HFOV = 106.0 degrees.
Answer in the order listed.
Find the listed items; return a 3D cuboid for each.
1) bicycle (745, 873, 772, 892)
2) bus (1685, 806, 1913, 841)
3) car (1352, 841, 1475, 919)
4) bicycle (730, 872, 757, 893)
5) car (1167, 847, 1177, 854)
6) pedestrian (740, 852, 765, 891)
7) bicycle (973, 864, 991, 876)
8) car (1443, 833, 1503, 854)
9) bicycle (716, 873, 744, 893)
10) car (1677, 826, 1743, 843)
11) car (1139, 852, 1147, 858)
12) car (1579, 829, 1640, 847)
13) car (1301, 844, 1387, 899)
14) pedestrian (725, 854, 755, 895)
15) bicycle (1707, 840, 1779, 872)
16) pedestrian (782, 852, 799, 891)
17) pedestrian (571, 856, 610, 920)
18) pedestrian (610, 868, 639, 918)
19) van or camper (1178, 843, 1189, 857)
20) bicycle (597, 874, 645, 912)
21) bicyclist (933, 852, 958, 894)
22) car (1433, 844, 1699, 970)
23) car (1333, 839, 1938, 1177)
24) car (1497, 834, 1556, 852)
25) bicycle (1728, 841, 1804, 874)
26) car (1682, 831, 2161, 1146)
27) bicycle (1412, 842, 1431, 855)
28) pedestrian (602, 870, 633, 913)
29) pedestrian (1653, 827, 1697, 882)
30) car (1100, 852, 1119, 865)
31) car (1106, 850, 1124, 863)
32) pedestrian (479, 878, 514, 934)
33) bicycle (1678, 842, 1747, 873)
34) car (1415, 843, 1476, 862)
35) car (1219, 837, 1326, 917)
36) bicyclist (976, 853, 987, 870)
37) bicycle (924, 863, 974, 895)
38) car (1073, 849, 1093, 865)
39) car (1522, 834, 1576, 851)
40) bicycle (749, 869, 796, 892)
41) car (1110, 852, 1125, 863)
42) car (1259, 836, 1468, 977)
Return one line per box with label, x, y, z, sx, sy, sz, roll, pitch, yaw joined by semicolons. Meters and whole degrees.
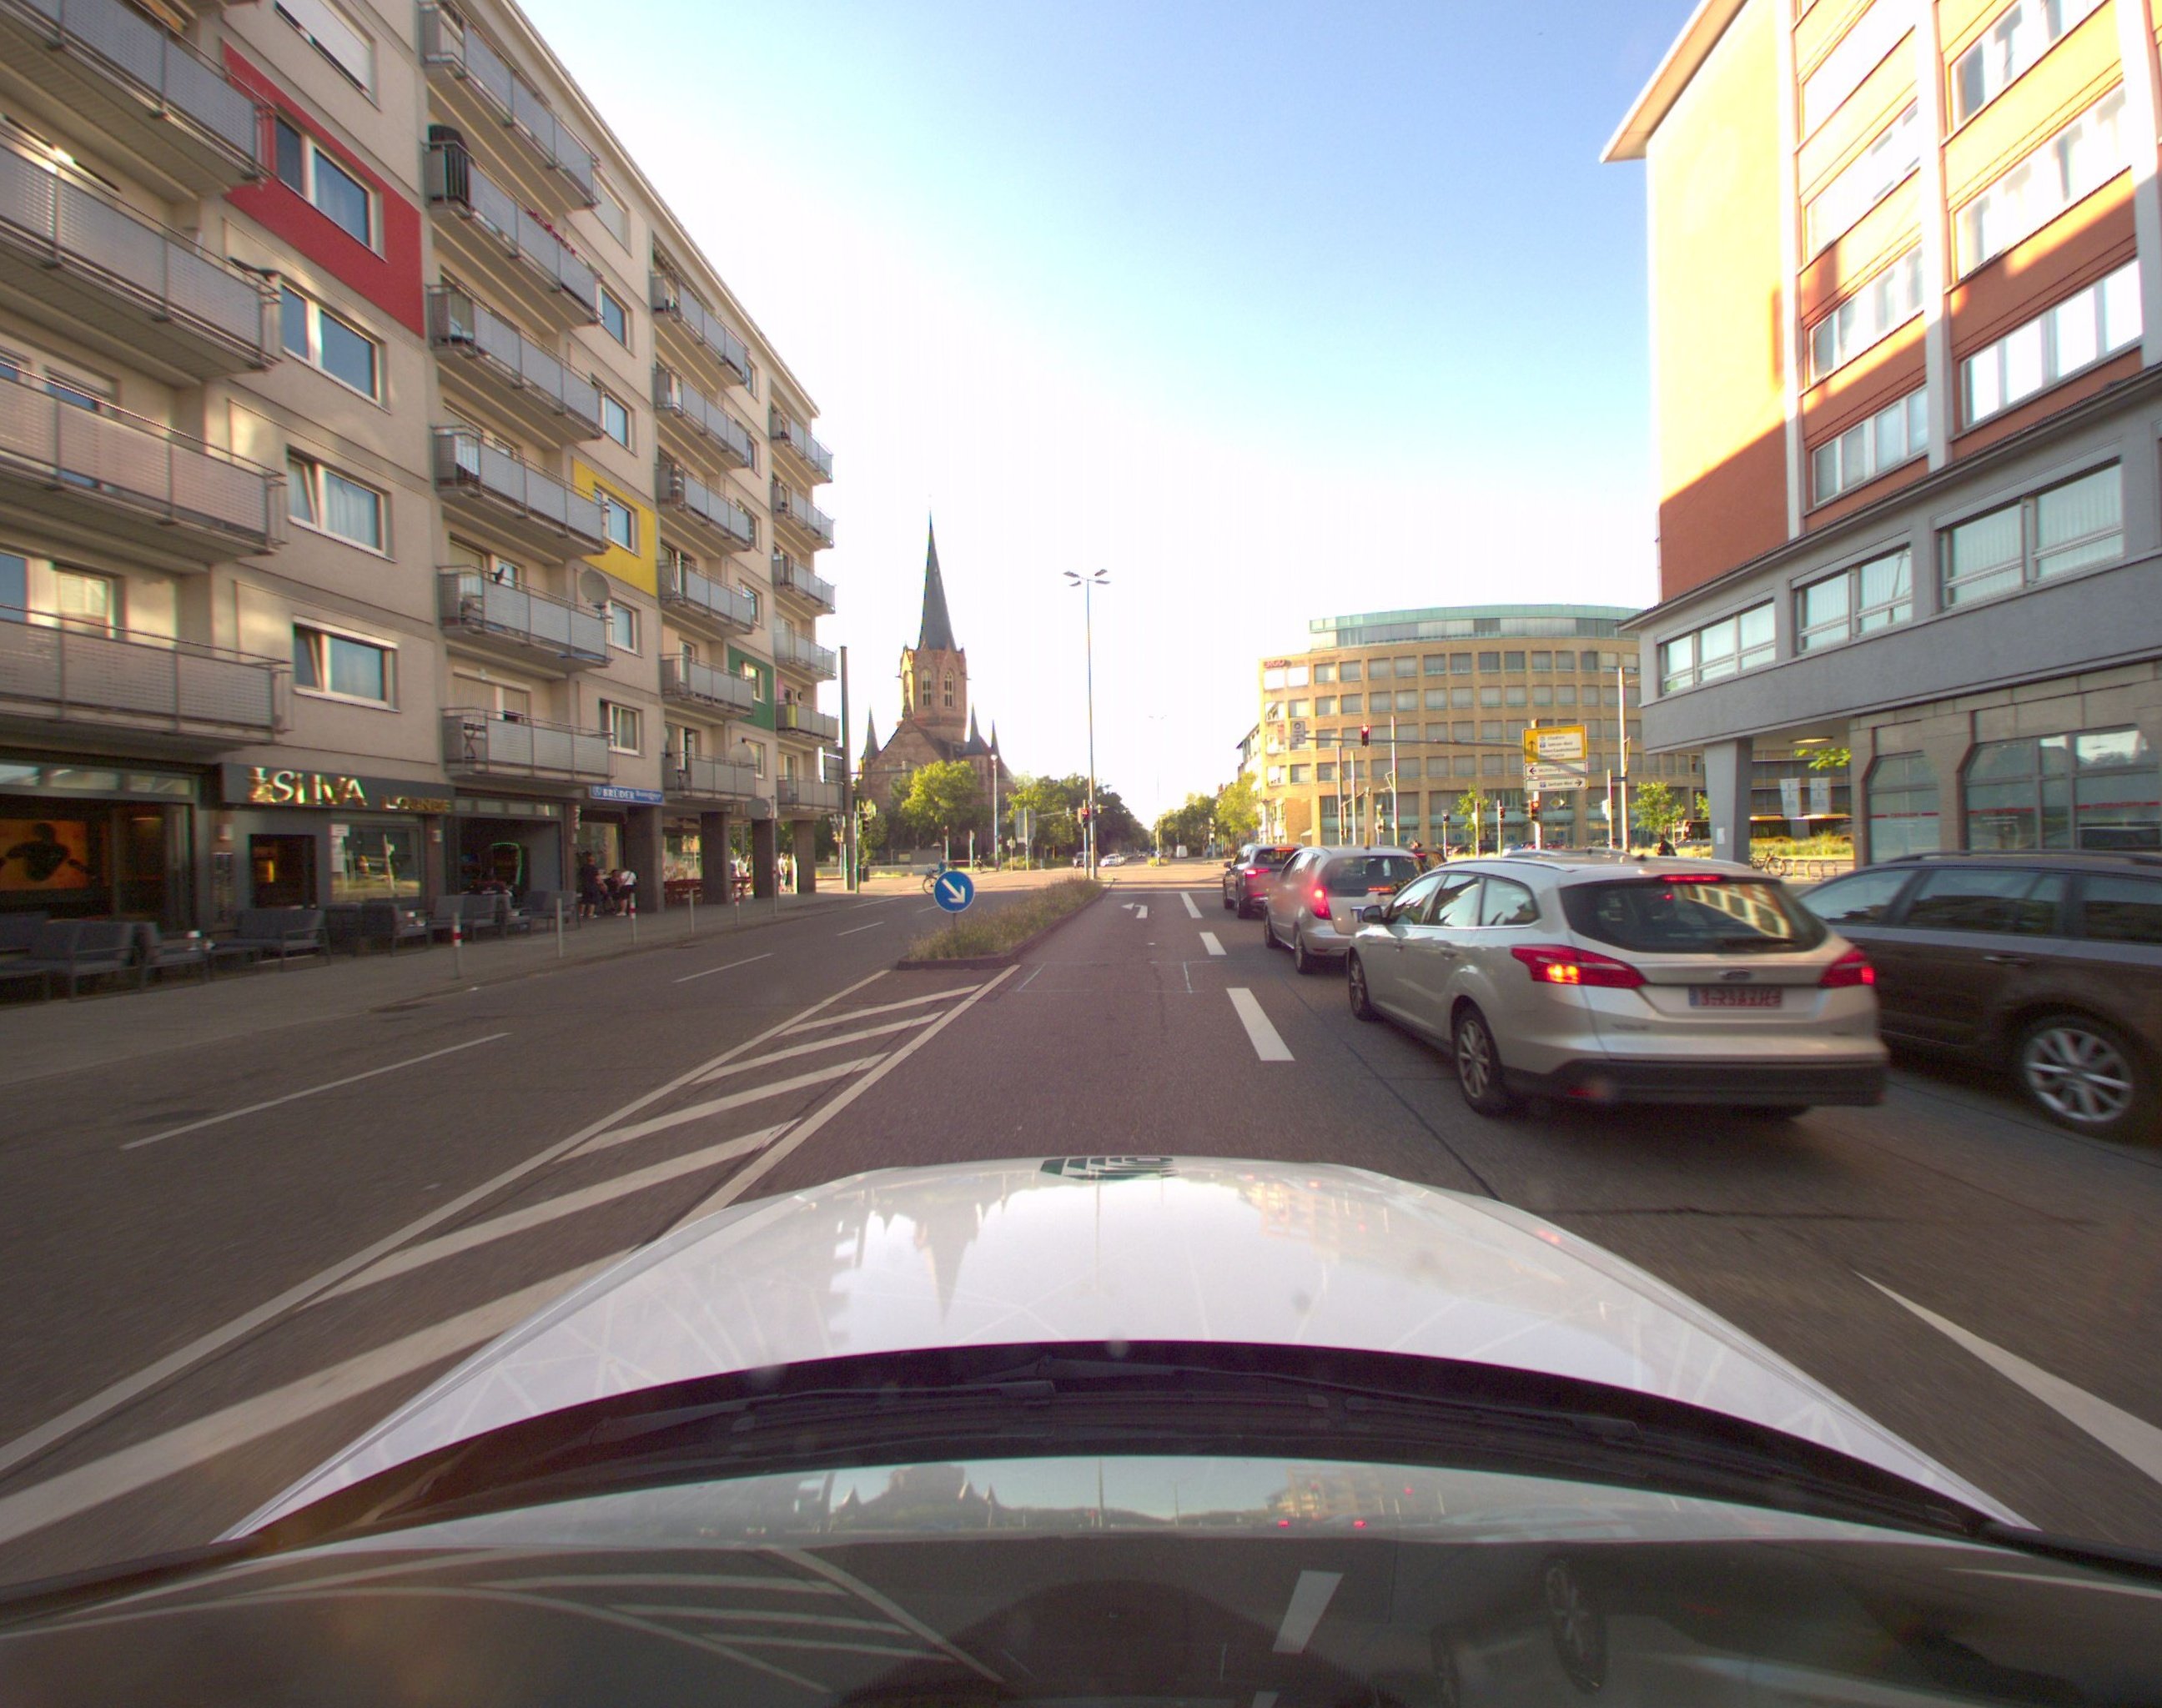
bicycle;-15.735;1.383;39.770;0.494;0.840;1.705;-2;0;4
bus;63.761;-2.669;72.511;18.106;2.436;2.423;-2;0;0
car;7.236;0.508;18.049;1.483;1.505;3.483;-2;0;4
bicycle;-16.512;1.387;39.853;0.494;0.906;1.705;-2;0;4
car;22.351;-0.772;200.023;1.986;1.592;4.002;-2;0;2
pedestrian;-15.022;0.794;37.234;0.748;1.709;0.677;-2;0;13
bicycle;-10.073;1.651;82.728;1.658;1.139;0.651;-2;0;30
car;34.006;-0.914;70.721;4.207;1.614;2.004;-2;0;6
bicycle;-17.142;1.408;39.765;0.494;0.906;1.705;-2;0;4
car;53.661;-1.652;69.533;3.970;1.346;2.002;-2;0;3
car;16.643;0.213;218.506;1.771;1.448;4.006;-2;0;5
car;45.409;-1.387;70.022;3.970;1.346;2.002;-2;0;3
car;7.447;0.450;23.372;1.577;1.446;3.653;0;0;5
pedestrian;-15.186;0.920;36.284;0.916;1.758;0.677;-2;0;13
bicycle;25.271;0.056;31.118;2.077;1.116;0.743;-3;0;3
pedestrian;-13.696;0.824;38.353;0.549;1.769;0.470;-2;0;6
pedestrian;-13.399;0.910;22.237;0.784;1.701;0.554;-2;0;-42
pedestrian;-12.769;1.089;22.797;0.479;1.384;0.484;-2;0;25
van or camper;21.225;-0.836;168.992;1.983;2.640;5.360;-2;0;6
bicycle;-14.344;1.200;25.424;0.585;1.081;1.457;-2;-1;3
bicyclist;-5.563;0.762;33.497;0.779;1.660;0.901;-2;0;1
car;6.697;0.613;11.847;1.643;1.484;4.245;-1;1;5
car;3.159;0.678;5.847;1.699;1.510;4.315;-1;1;5
car;40.166;-1.004;73.487;4.213;1.502;2.001;-2;0;1
bicycle;25.107;0.129;29.866;2.077;1.116;0.743;-3;0;3
car;6.074;0.612;5.163;1.699;1.457;4.164;-2;0;5
bicycle;31.842;-0.501;76.156;1.508;1.172;0.477;-2;0;15
pedestrian;-13.798;1.104;24.232;0.551;1.239;0.533;-2;0;19
pedestrian;19.536;0.015;26.806;0.939;1.768;0.671;-2;0;9
car;3.209;0.489;90.435;1.771;1.236;4.006;-2;1;5
car;4.070;0.300;96.970;1.771;1.464;4.006;-2;0;5
pedestrian;-13.179;1.162;18.366;0.524;1.203;0.548;-2;0;-27
bicycle;25.319;0.144;32.673;2.077;1.116;0.743;-3;0;3
car;33.070;-0.147;74.051;4.628;1.598;2.001;-2;0;2
car;4.409;0.461;19.410;1.776;1.632;4.484;-2;0;4
bicyclist;-10.106;0.780;82.731;0.772;1.694;0.645;-2;0;30
bicycle;-5.348;1.014;33.004;1.819;1.188;0.735;-2;0;3
car;0.244;0.330;91.217;1.771;1.647;4.006;-2;0;5
car;40.237;-1.008;70.075;3.591;1.342;1.724;-2;0;5
bicycle;-17.031;1.461;44.993;2.034;1.168;1.163;-2;0;3
car;4.680;0.459;104.219;1.771;1.236;4.006;-2;1;5
car;3.659;0.591;11.230;1.796;1.568;3.622;-2;0;4
